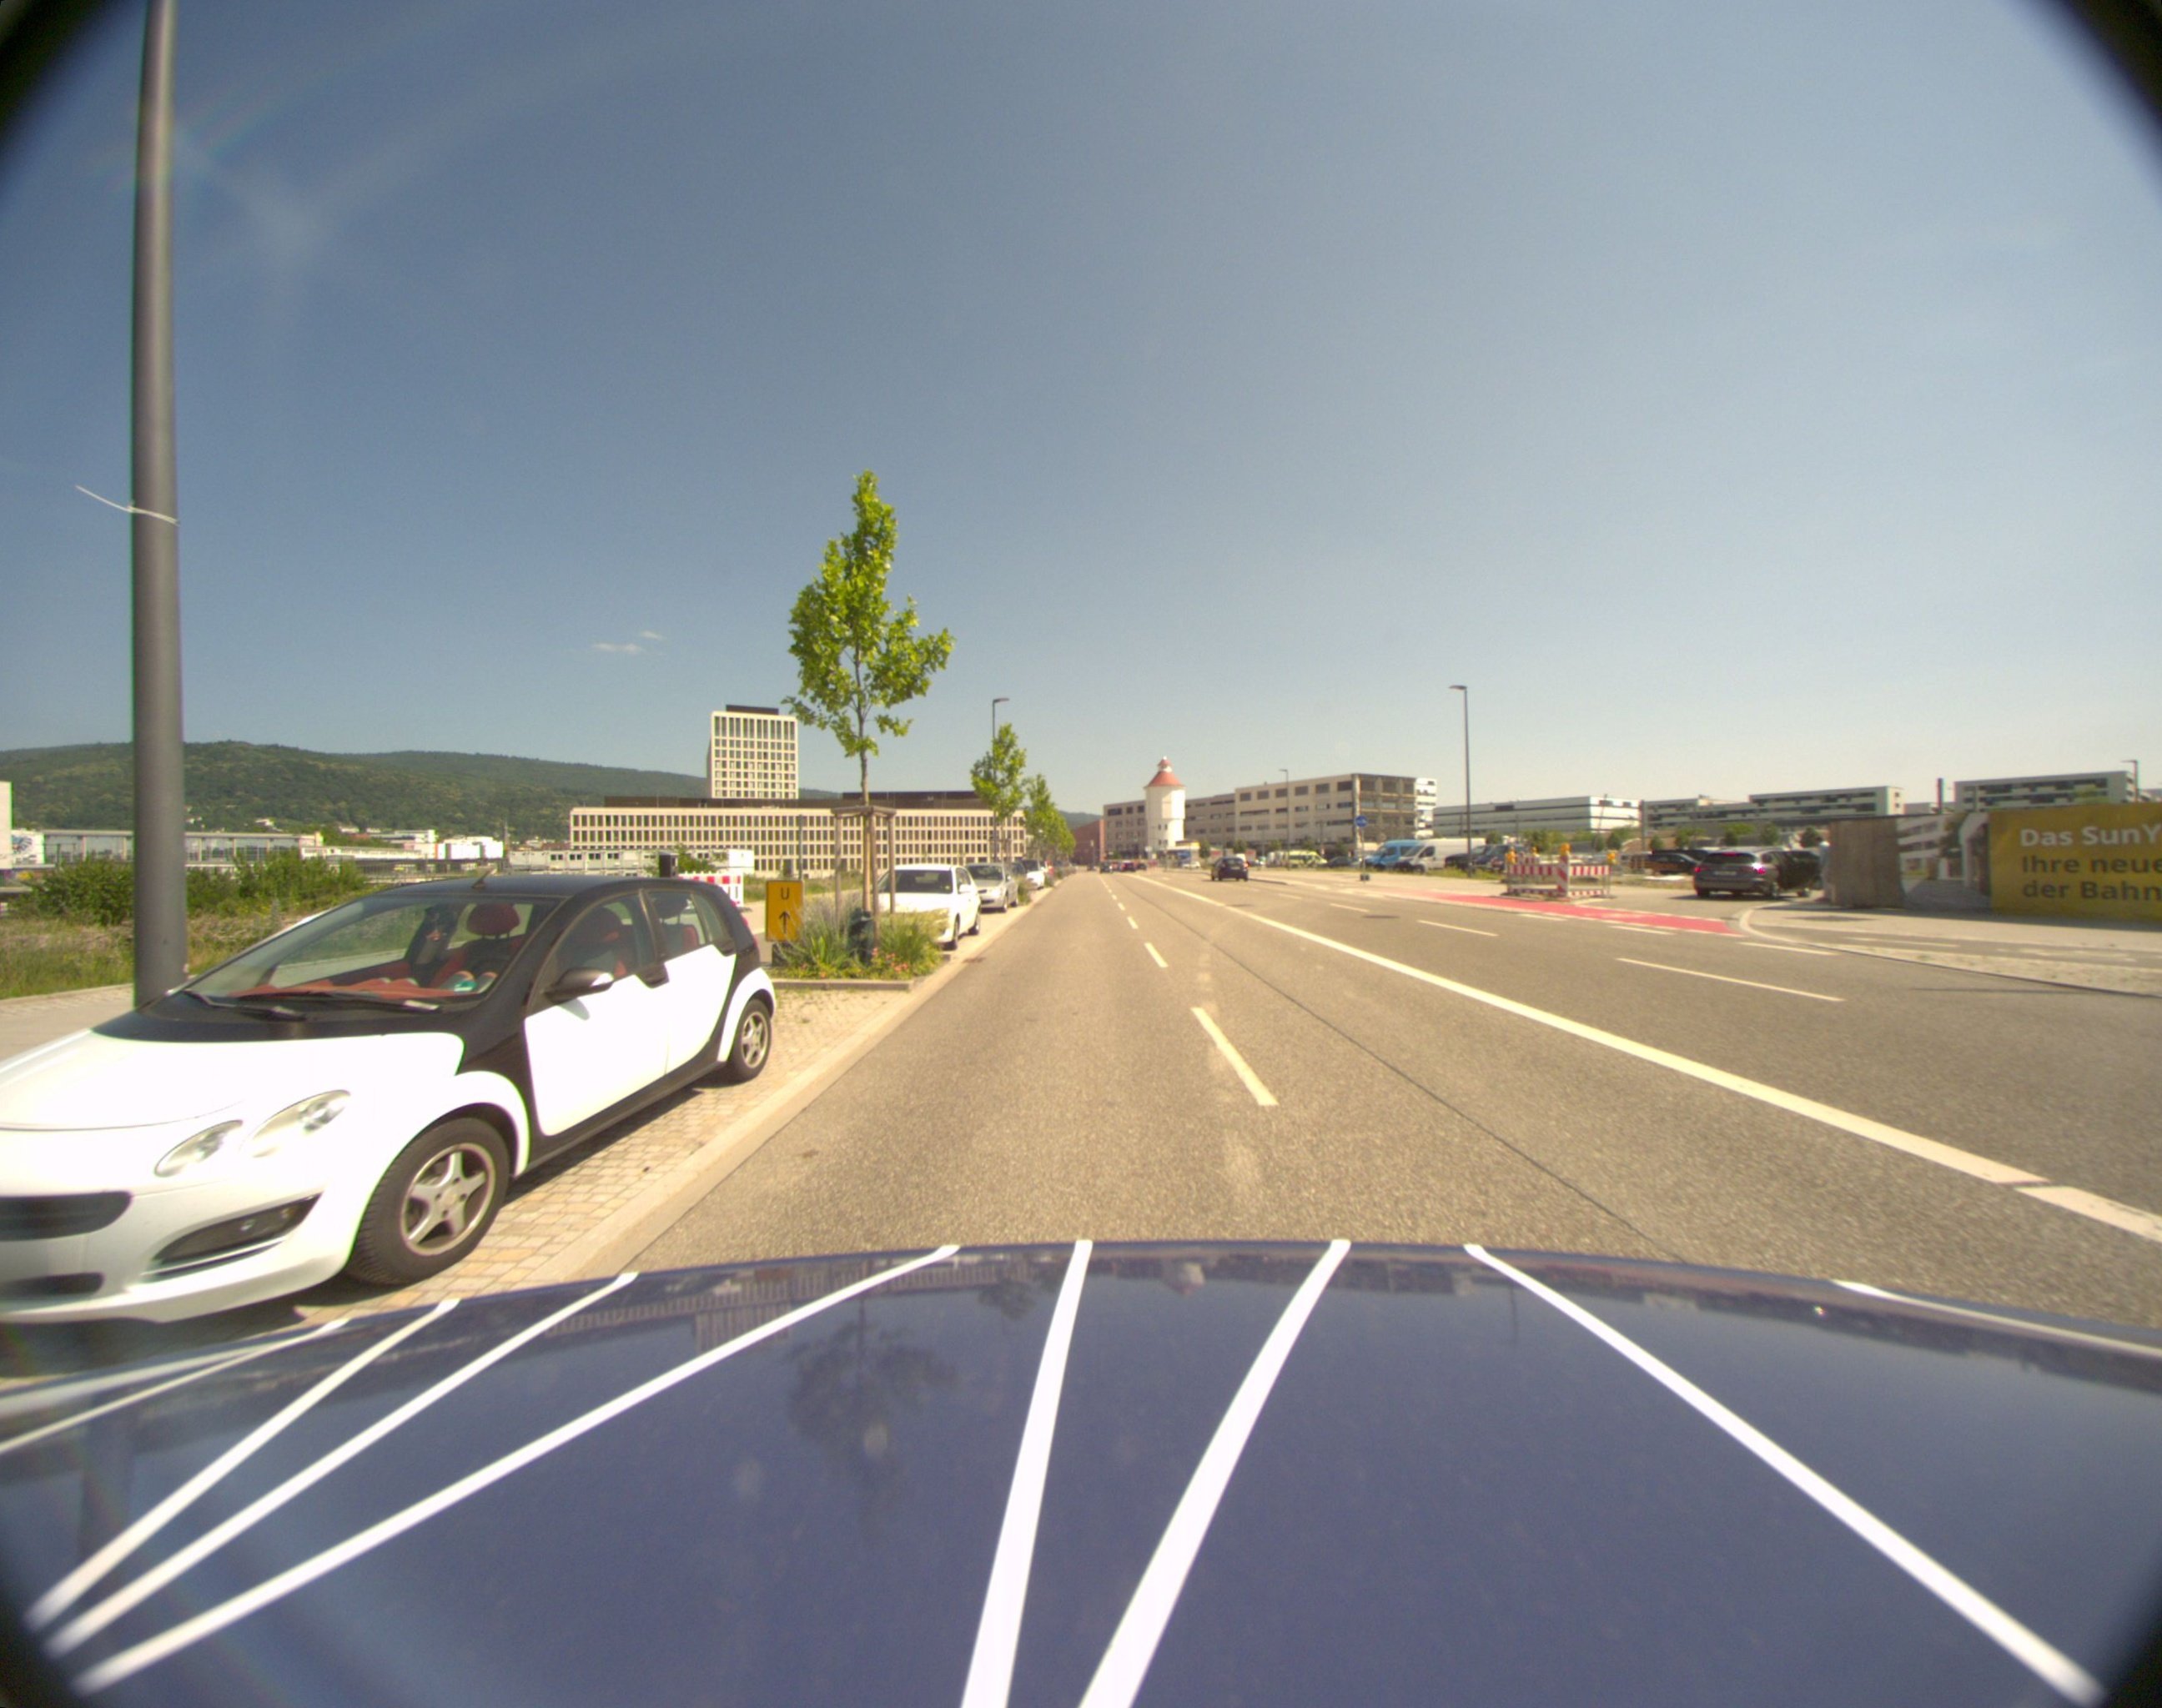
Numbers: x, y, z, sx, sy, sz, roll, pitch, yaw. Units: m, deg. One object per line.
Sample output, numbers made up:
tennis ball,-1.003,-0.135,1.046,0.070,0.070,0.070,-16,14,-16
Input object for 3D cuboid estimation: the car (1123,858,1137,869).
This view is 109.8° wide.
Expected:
car,6.781,1.259,104.900,1.791,1.390,4.572,-1,0,2

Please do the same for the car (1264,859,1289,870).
car,35.124,1.880,136.559,3.876,1.748,1.657,-2,0,-3

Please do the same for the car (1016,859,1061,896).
car,-1.839,0.972,33.240,1.794,1.468,4.371,-1,0,-3

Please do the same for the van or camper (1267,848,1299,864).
van or camper,35.410,0.403,133.153,4.912,2.646,2.260,-2,0,0

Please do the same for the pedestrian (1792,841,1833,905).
pedestrian,20.004,0.511,20.791,0.685,1.674,0.757,-2,2,36

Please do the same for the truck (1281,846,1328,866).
truck,35.616,0.352,121.084,6.654,2.809,2.602,-2,0,-2

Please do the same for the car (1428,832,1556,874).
car,23.195,-0.030,43.107,5.895,2.153,2.396,-1,0,4

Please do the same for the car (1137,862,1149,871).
car,11.845,2.351,145.299,1.907,1.618,4.387,-1,0,1

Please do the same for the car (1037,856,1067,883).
car,-1.787,0.925,47.493,1.722,1.516,3.641,1,1,0

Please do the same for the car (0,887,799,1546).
car,-3.172,0.993,3.928,1.708,1.454,4.086,-1,0,3

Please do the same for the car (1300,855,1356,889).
car,11.846,0.830,36.659,1.611,1.468,3.678,1,1,2

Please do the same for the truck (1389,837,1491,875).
truck,23.420,0.124,49.698,5.581,2.348,2.275,-1,0,-1

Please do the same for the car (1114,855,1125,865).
car,6.533,1.000,129.815,1.783,1.672,4.100,2,-1,1

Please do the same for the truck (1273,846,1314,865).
truck,35.978,0.203,129.021,6.160,2.884,2.570,-3,1,1

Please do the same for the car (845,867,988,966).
car,-2.857,1.023,14.069,1.750,1.500,4.001,-1,0,0

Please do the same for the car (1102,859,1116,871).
car,3.726,1.438,101.595,1.783,1.552,3.832,-1,0,0

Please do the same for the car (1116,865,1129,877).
car,6.673,2.756,122.146,1.790,1.411,4.287,-5,-6,1

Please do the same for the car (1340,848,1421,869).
car,23.796,0.362,60.489,5.666,1.465,2.107,-1,0,-2

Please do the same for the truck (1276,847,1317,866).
truck,35.115,0.350,124.139,5.850,2.808,2.570,-3,1,0

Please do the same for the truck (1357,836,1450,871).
truck,24.035,-0.040,56.786,6.019,2.528,2.275,-1,0,1

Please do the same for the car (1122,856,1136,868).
car,7.059,1.194,111.846,1.918,1.640,4.731,-1,0,1

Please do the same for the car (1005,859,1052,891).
car,-2.708,1.057,40.047,1.913,1.568,4.159,-1,0,4

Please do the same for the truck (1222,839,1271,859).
truck,39.650,-1.208,182.230,10.951,4.251,3.341,-3,1,-11

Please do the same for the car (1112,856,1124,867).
car,6.694,1.349,137.683,1.944,1.778,4.655,-1,0,-1

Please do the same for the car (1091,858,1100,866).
car,3.027,1.708,154.804,1.783,1.552,3.832,-1,0,2

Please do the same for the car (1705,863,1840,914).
car,20.165,0.952,22.120,4.255,1.310,1.995,0,0,-34

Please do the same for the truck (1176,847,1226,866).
truck,28.358,0.600,179.463,10.987,4.044,3.297,-3,1,-17

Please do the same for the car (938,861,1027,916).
car,-2.871,0.977,23.054,1.913,1.470,4.159,-1,0,4

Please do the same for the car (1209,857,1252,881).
car,8.785,0.851,45.088,1.708,1.344,4.456,-1,0,1

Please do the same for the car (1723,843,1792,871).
car,57.868,0.290,65.037,2.003,2.227,3.990,-2,-1,-35

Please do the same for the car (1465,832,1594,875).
car,23.740,-0.014,40.359,5.458,2.160,2.395,-1,0,-3

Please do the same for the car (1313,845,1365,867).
car,22.651,0.172,66.865,3.994,1.892,1.829,-1,0,8
